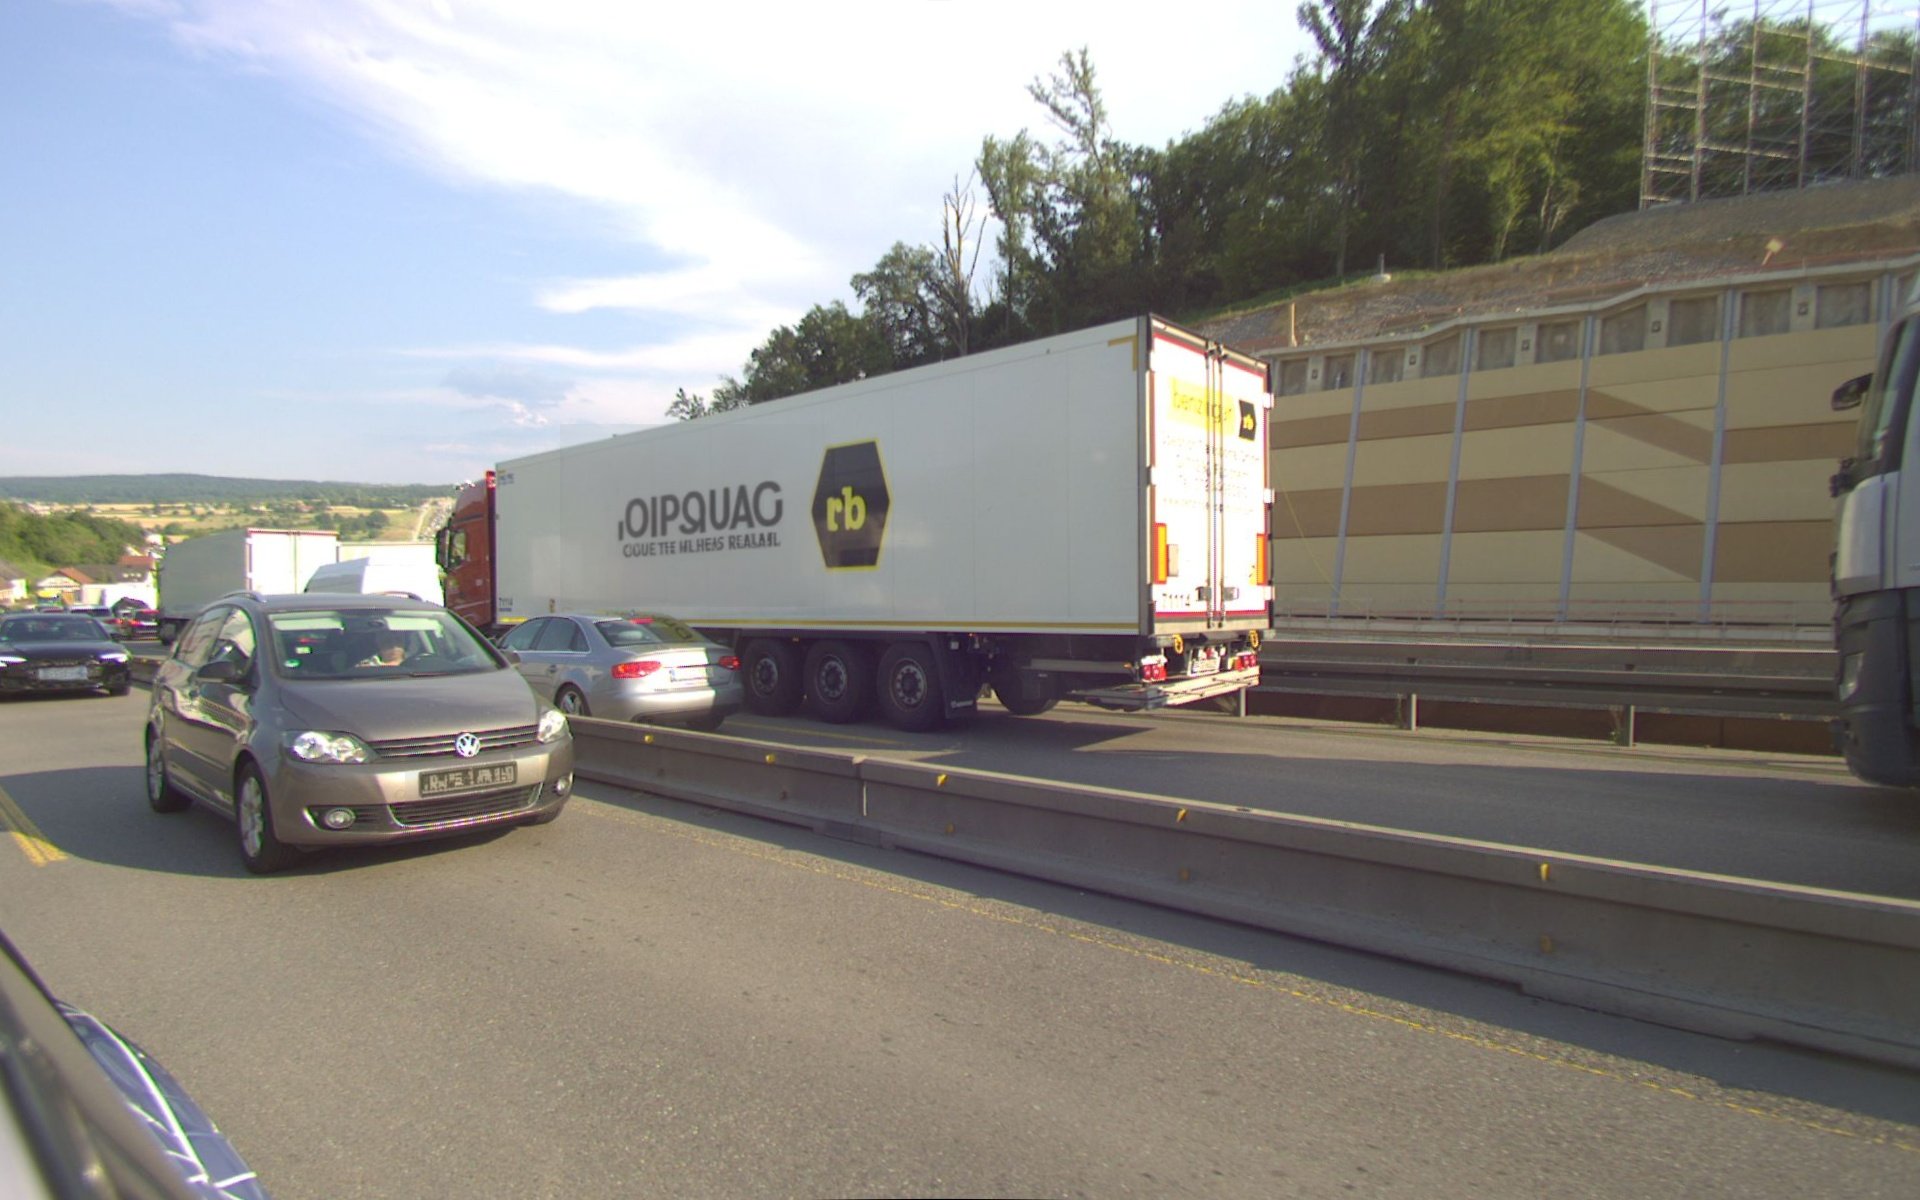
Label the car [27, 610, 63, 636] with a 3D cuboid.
[{"bbox_3d":[-67.168,1.674,74.262,1.783,1.785,5.457,-1,-1,-44],"label":"car"}]

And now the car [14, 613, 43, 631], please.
[{"bbox_3d":[-87.307,2.076,94.844,1.796,1.591,4.758,2,-3,-44],"label":"car"}]

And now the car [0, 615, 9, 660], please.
[{"bbox_3d":[-32.579,1.264,33.260,4.001,1.409,1.675,-2,0,44],"label":"car"}]

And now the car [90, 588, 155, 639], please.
[{"bbox_3d":[-51.515,0.806,62.182,7.636,2.940,2.308,0,-1,45],"label":"car"}]

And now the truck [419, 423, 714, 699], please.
[{"bbox_3d":[-7.484,-0.593,18.880,5.931,4.332,2.716,-1,0,41],"label":"truck"}]

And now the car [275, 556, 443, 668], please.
[{"bbox_3d":[-16.485,0.360,27.526,6.948,2.710,2.000,-2,0,43],"label":"car"}]

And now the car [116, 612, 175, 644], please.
[{"bbox_3d":[-39.528,1.340,49.087,1.723,1.471,4.716,0,-1,-45],"label":"car"}]

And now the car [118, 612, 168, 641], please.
[{"bbox_3d":[-45.199,1.435,55.943,1.728,1.433,4.613,-1,1,-44],"label":"car"}]

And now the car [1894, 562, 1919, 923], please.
[{"bbox_3d":[6.052,0.570,2.928,4.835,1.450,1.714,-1,-2,41],"label":"car"}]

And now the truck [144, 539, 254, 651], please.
[{"bbox_3d":[-31.230,-0.181,41.480,5.683,4.250,2.683,-1,0,43],"label":"truck"}]

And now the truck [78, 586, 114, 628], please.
[{"bbox_3d":[-89.374,0.716,104.584,2.674,4.119,14.173,1,-1,-41],"label":"truck"}]

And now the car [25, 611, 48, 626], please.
[{"bbox_3d":[-104.928,2.133,114.993,1.796,1.591,4.758,2,-3,-44],"label":"car"}]

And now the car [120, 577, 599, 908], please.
[{"bbox_3d":[-4.249,0.688,6.856,4.099,1.585,1.666,-1,0,42],"label":"car"}]

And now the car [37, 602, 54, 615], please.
[{"bbox_3d":[-144.068,1.357,159.459,1.796,2.015,4.758,2,-3,-44],"label":"car"}]

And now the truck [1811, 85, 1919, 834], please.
[{"bbox_3d":[8.163,-0.808,5.053,5.930,4.172,2.759,-1,0,40],"label":"truck"}]

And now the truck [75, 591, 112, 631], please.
[{"bbox_3d":[-80.069,1.022,93.571,2.416,3.489,7.630,0,-1,-40],"label":"truck"}]

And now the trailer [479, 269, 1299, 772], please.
[{"bbox_3d":[-2.460,-0.644,14.427,13.875,4.366,2.737,-1,0,42],"label":"trailer"}]

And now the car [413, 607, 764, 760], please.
[{"bbox_3d":[-4.528,0.830,11.889,4.888,1.388,1.713,-1,1,41],"label":"car"}]

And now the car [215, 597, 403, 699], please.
[{"bbox_3d":[-12.133,0.813,18.725,4.861,1.670,1.733,-1,-1,42],"label":"car"}]

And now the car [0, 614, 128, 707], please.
[{"bbox_3d":[-16.083,0.975,17.710,4.000,1.409,1.842,0,-1,43],"label":"car"}]

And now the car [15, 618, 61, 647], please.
[{"bbox_3d":[-53.865,1.872,59.185,1.865,1.580,4.461,-2,0,-41],"label":"car"}]

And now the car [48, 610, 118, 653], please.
[{"bbox_3d":[-35.569,1.243,41.000,1.848,1.601,4.807,-1,0,-44],"label":"car"}]

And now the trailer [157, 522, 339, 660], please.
[{"bbox_3d":[-26.156,-0.234,36.700,13.749,4.250,2.691,-1,0,43],"label":"trailer"}]
